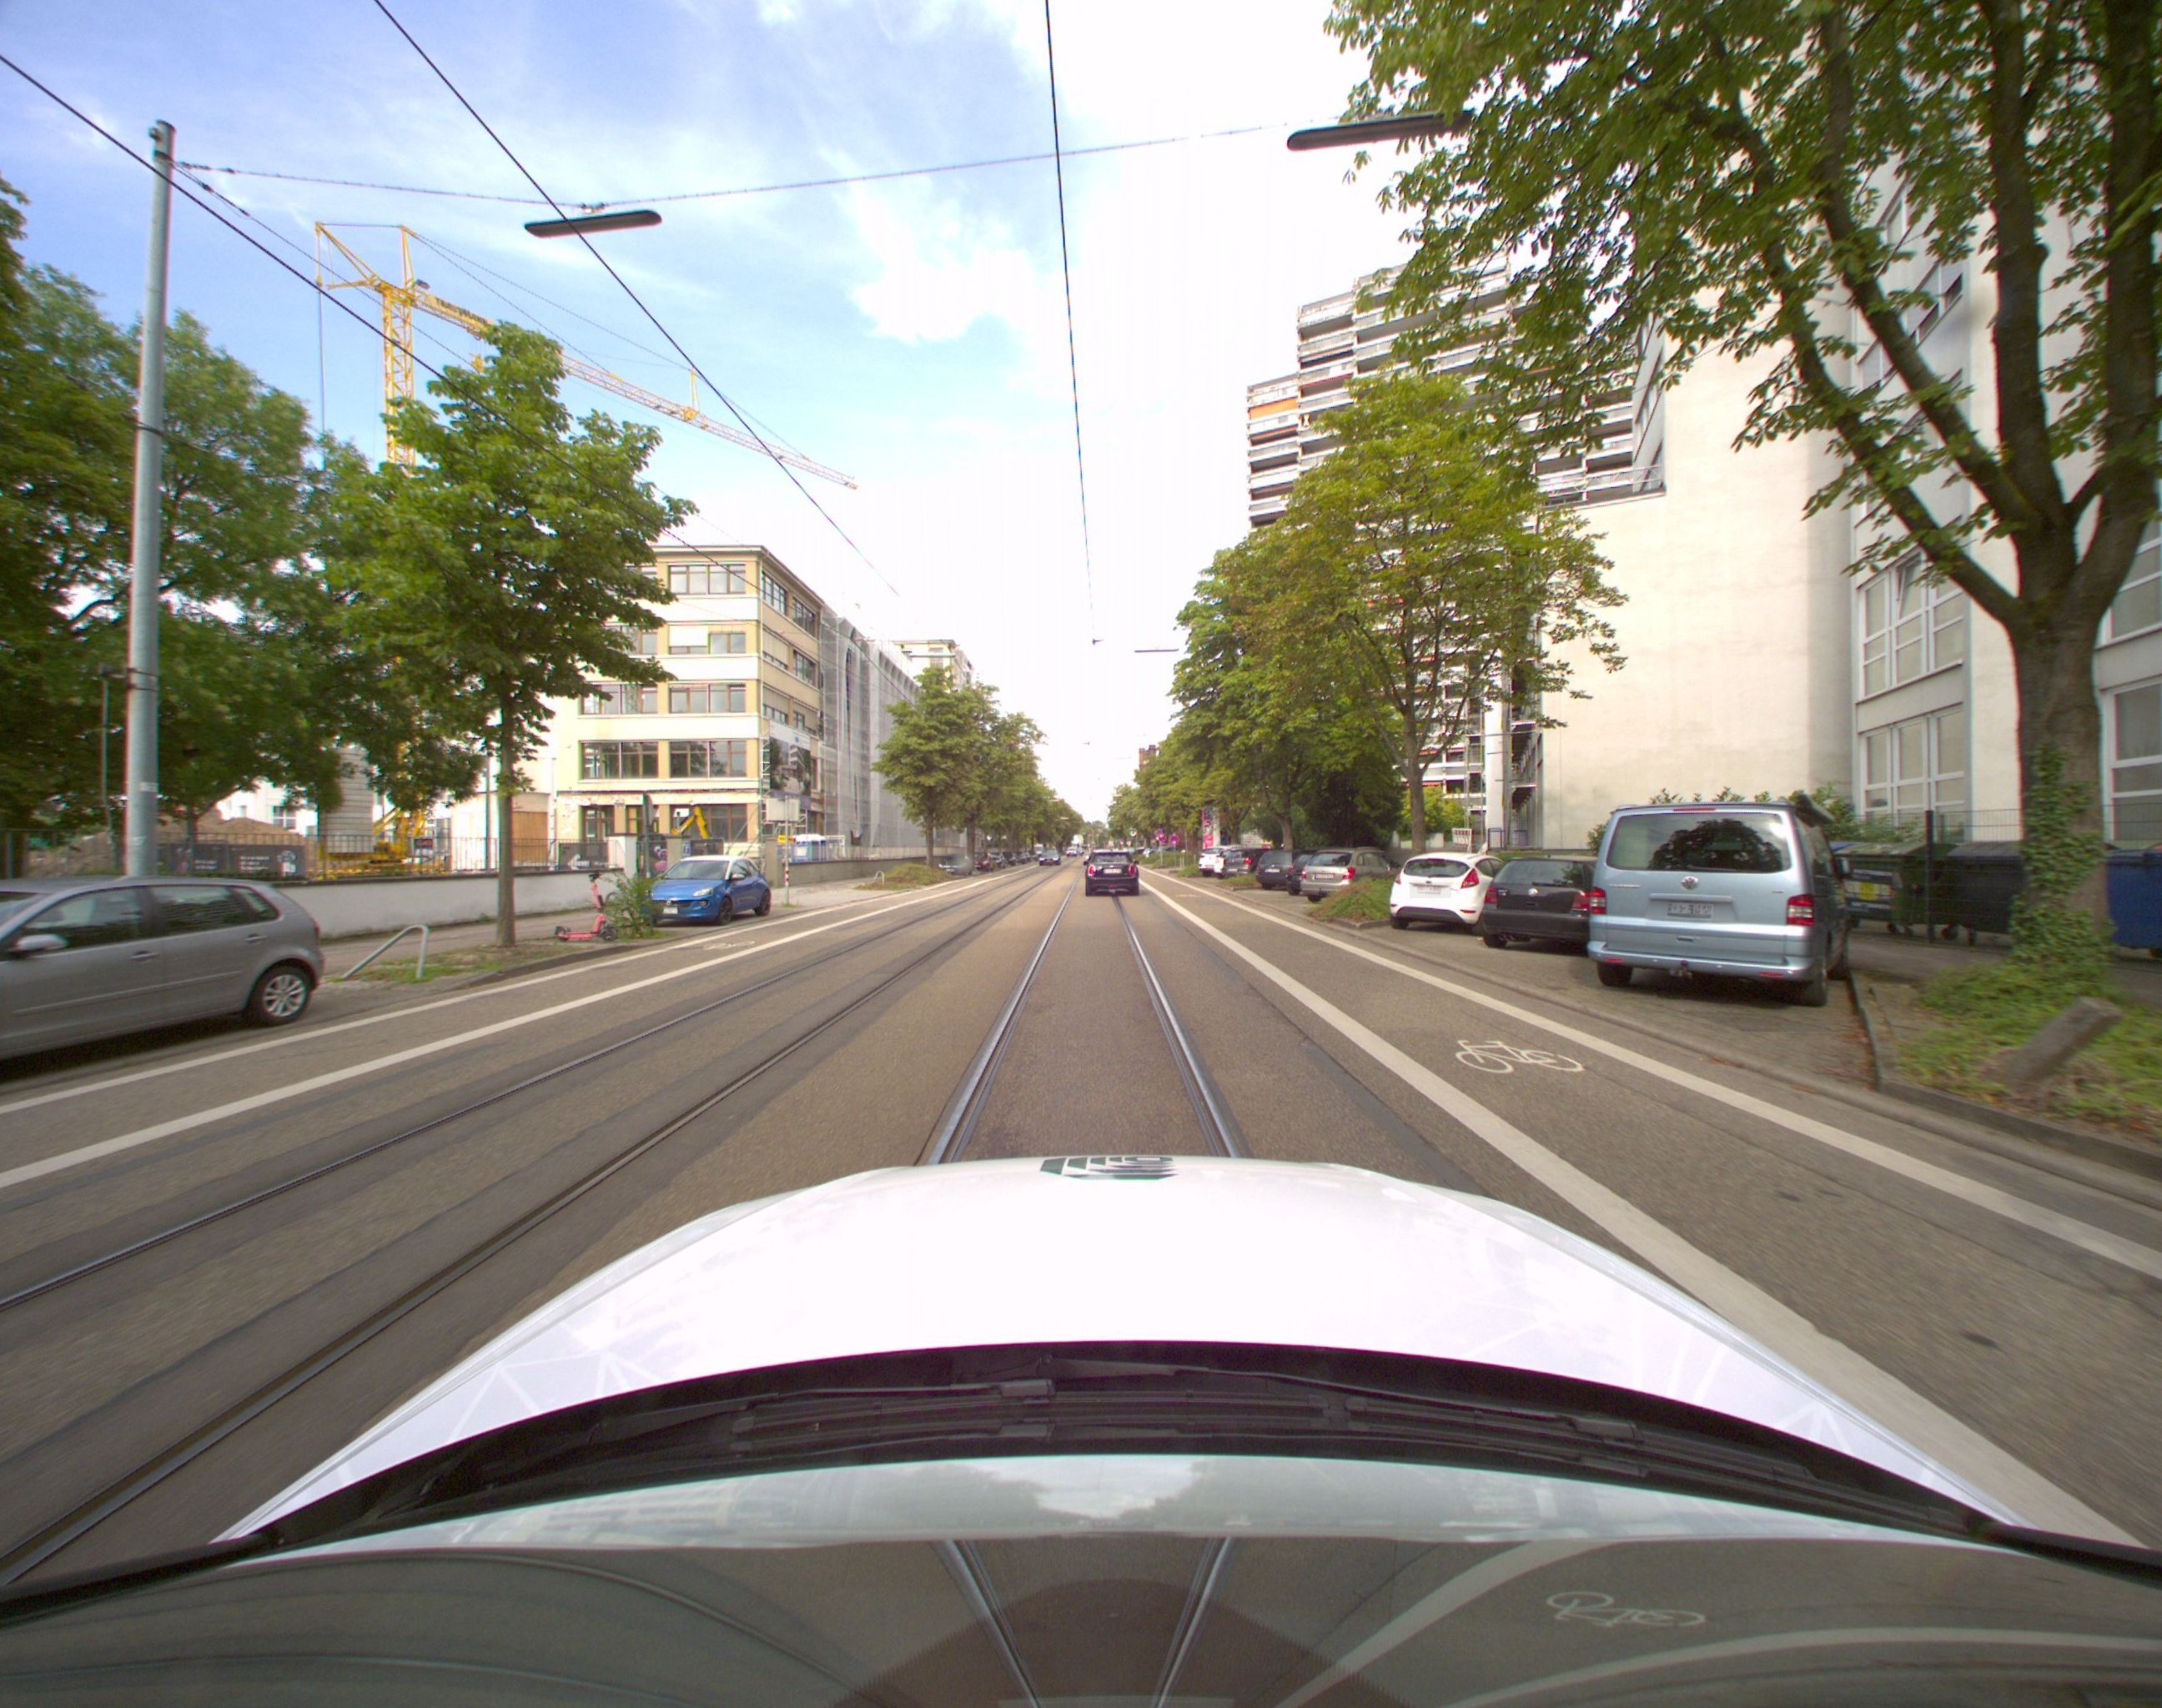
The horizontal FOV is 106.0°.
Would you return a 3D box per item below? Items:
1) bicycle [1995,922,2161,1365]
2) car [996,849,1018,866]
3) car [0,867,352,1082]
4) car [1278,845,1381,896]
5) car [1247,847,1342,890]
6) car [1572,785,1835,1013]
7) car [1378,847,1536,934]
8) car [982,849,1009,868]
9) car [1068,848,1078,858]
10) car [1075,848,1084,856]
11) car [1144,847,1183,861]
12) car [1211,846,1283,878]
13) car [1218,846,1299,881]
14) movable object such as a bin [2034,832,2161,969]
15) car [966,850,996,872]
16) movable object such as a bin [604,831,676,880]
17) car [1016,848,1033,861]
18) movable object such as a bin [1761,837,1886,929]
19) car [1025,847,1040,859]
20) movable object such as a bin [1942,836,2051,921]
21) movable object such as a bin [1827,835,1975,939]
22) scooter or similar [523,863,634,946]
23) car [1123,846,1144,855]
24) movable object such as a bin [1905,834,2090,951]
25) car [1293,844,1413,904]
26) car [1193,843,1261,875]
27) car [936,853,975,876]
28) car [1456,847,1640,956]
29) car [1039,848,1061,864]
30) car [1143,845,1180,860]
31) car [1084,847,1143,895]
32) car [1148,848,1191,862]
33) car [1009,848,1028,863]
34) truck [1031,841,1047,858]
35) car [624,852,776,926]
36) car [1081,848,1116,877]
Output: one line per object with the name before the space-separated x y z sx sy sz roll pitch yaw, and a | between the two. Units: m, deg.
bicycle | 3.481 0.871 1.743 0.655 1.249 2.124 0 1 0
car | -7.389 0.342 82.112 1.796 1.583 4.031 -2 0 0
car | -8.374 0.864 6.447 1.687 1.427 3.868 0 0 0
car | 8.126 0.487 26.495 3.761 1.522 1.620 0 0 -45
car | 7.711 0.487 29.246 3.761 1.458 1.620 0 0 -45
car | 7.278 0.393 9.343 4.300 2.015 1.809 0 0 -45
car | 7.308 0.603 15.653 1.620 1.460 3.852 0 0 43
car | -7.475 0.351 71.496 1.796 1.583 4.031 -2 0 0
car | -1.501 -0.201 150.654 1.796 1.823 4.484 -2 0 0
car | -0.390 -0.337 170.352 1.796 1.622 4.484 -2 0 0
car | 8.874 0.007 87.781 3.977 1.425 1.883 0 0 -3
car | 8.006 0.354 39.133 3.464 1.442 1.542 -1 0 -38
car | 7.886 0.389 36.006 3.552 1.442 1.605 -1 0 -38
movable object such as a bin | 12.517 0.512 9.586 1.065 1.508 1.323 0 0 1
car | -7.665 0.519 62.625 1.796 1.583 4.031 -2 0 0
movable object such as a bin | -19.116 0.053 35.359 1.978 2.067 1.962 0 0 3
car | -6.994 0.027 101.426 1.796 1.583 4.031 -2 0 0
movable object such as a bin | 12.741 0.465 14.024 1.065 1.508 1.214 0 0 1
car | -6.706 -0.090 112.832 1.796 1.583 4.031 -2 0 0
movable object such as a bin | 17.435 0.439 15.552 1.022 1.562 1.085 1 0 24
movable object such as a bin | 12.539 0.480 12.509 1.065 1.508 1.214 0 0 1
scooter or similar | -8.642 0.847 14.046 1.438 1.344 0.700 -2 0 2
car | 10.595 -0.690 165.001 3.977 1.910 1.998 0 0 -3
movable object such as a bin | 12.538 0.494 11.213 1.065 1.508 1.323 0 0 1
car | 7.558 0.500 22.455 3.761 1.522 1.620 0 0 -45
car | 7.572 0.229 42.129 3.464 1.572 1.542 -1 0 -38
car | -8.002 0.658 52.232 1.796 1.374 4.031 -2 0 0
car | 7.474 0.636 12.870 1.656 1.460 3.852 0 0 43
car | -2.907 0.196 77.164 1.829 1.448 4.553 0 0 0
car | 9.191 -0.150 93.184 3.977 1.627 1.883 0 0 -3
car | 0.992 0.502 26.776 1.787 1.423 4.000 0 0 0
car | 8.757 0.081 80.879 3.977 1.425 1.883 0 0 -3
car | -7.104 0.116 92.308 1.796 1.583 4.031 -2 0 0
truck | -6.485 -0.647 125.933 2.064 2.470 4.899 -2 0 0
car | -8.439 0.705 18.418 1.687 1.487 3.677 0 0 0
car | 0.911 0.409 44.251 1.788 1.470 4.000 1 0 0
